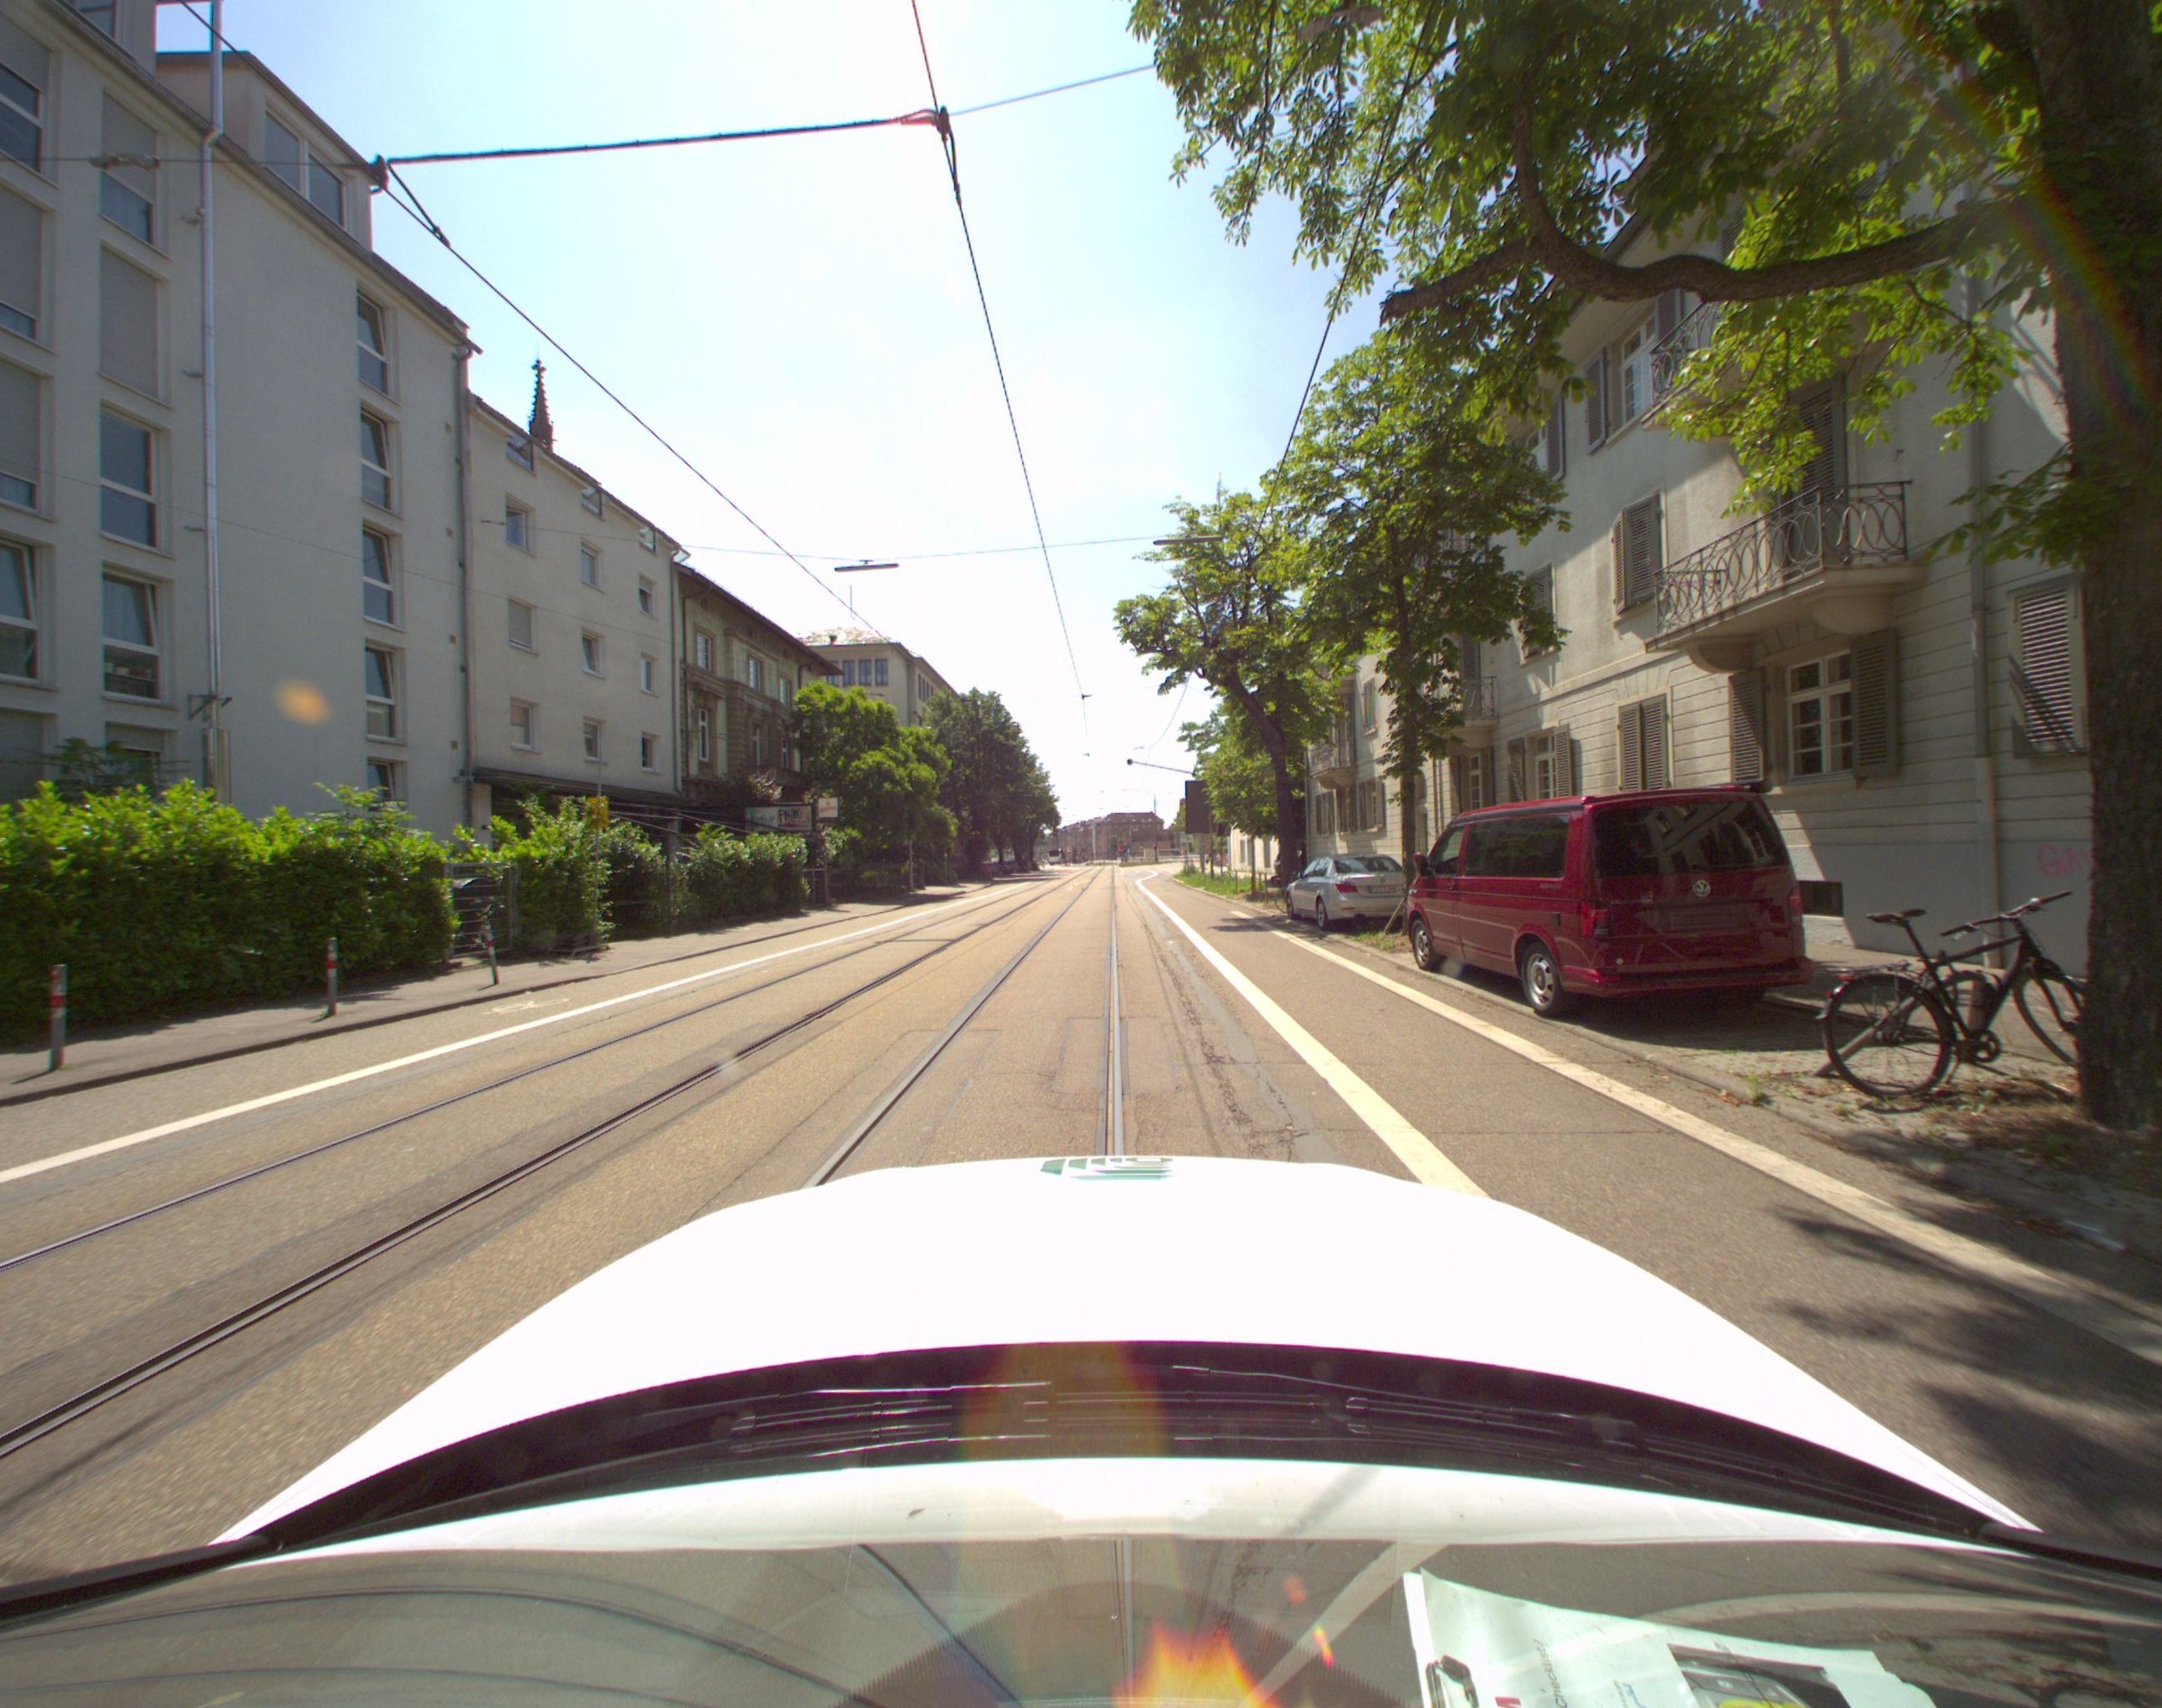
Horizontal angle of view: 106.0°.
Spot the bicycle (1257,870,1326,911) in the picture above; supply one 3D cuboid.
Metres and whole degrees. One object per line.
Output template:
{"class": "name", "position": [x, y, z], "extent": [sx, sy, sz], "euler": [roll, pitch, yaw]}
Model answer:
{"class": "bicycle", "position": [5.385, 0.937, 20.910], "extent": [1.651, 1.015, 0.372], "euler": [-2, -1, 2]}

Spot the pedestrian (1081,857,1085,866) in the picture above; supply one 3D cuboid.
{"class": "pedestrian", "position": [0.422, 1.462, 159.869], "extent": [0.672, 1.909, 0.639], "euler": [-2, 0, -8]}

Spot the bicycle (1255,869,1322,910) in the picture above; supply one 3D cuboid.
{"class": "bicycle", "position": [5.453, 0.940, 21.452], "extent": [1.651, 1.015, 0.372], "euler": [-2, 1, 2]}

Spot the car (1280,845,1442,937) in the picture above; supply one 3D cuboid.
{"class": "car", "position": [5.519, 0.691, 16.777], "extent": [1.852, 1.577, 4.880], "euler": [-2, -1, 3]}

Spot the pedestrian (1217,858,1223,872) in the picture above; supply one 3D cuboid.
{"class": "pedestrian", "position": [16.611, 1.364, 97.238], "extent": [0.657, 1.647, 0.626], "euler": [-2, 0, 7]}

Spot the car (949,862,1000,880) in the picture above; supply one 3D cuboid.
{"class": "car", "position": [-9.666, 1.538, 73.862], "extent": [4.332, 1.584, 1.654], "euler": [0, -1, -27]}

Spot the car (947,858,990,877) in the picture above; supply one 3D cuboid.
{"class": "car", "position": [-9.787, 1.152, 70.872], "extent": [3.357, 1.516, 1.656], "euler": [-1, -1, -24]}

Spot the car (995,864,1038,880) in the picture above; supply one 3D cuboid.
{"class": "car", "position": [-6.380, 1.781, 80.690], "extent": [3.939, 1.374, 1.656], "euler": [-2, 0, -24]}

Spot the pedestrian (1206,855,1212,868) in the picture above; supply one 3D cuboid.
{"class": "pedestrian", "position": [19.234, 1.140, 122.821], "extent": [0.810, 1.808, 0.701], "euler": [-2, 0, 6]}

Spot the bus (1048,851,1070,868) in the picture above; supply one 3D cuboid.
{"class": "bus", "position": [-4.511, 1.153, 170.319], "extent": [2.998, 3.158, 17.511], "euler": [-2, 0, 3]}

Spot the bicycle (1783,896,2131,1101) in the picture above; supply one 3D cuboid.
{"class": "bicycle", "position": [5.052, 0.806, 4.720], "extent": [1.693, 1.021, 0.364], "euler": [-3, -1, -5]}

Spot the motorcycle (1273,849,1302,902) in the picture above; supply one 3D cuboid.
{"class": "motorcycle", "position": [6.226, 0.613, 24.639], "extent": [0.740, 1.506, 2.568], "euler": [-2, 0, 14]}

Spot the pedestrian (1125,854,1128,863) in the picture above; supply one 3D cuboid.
{"class": "pedestrian", "position": [8.729, 0.829, 155.659], "extent": [0.526, 1.675, 0.751], "euler": [-1, -1, -5]}

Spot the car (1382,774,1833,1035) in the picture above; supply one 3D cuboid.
{"class": "car", "position": [5.061, 0.411, 8.907], "extent": [1.852, 2.014, 4.979], "euler": [-1, 0, 3]}
